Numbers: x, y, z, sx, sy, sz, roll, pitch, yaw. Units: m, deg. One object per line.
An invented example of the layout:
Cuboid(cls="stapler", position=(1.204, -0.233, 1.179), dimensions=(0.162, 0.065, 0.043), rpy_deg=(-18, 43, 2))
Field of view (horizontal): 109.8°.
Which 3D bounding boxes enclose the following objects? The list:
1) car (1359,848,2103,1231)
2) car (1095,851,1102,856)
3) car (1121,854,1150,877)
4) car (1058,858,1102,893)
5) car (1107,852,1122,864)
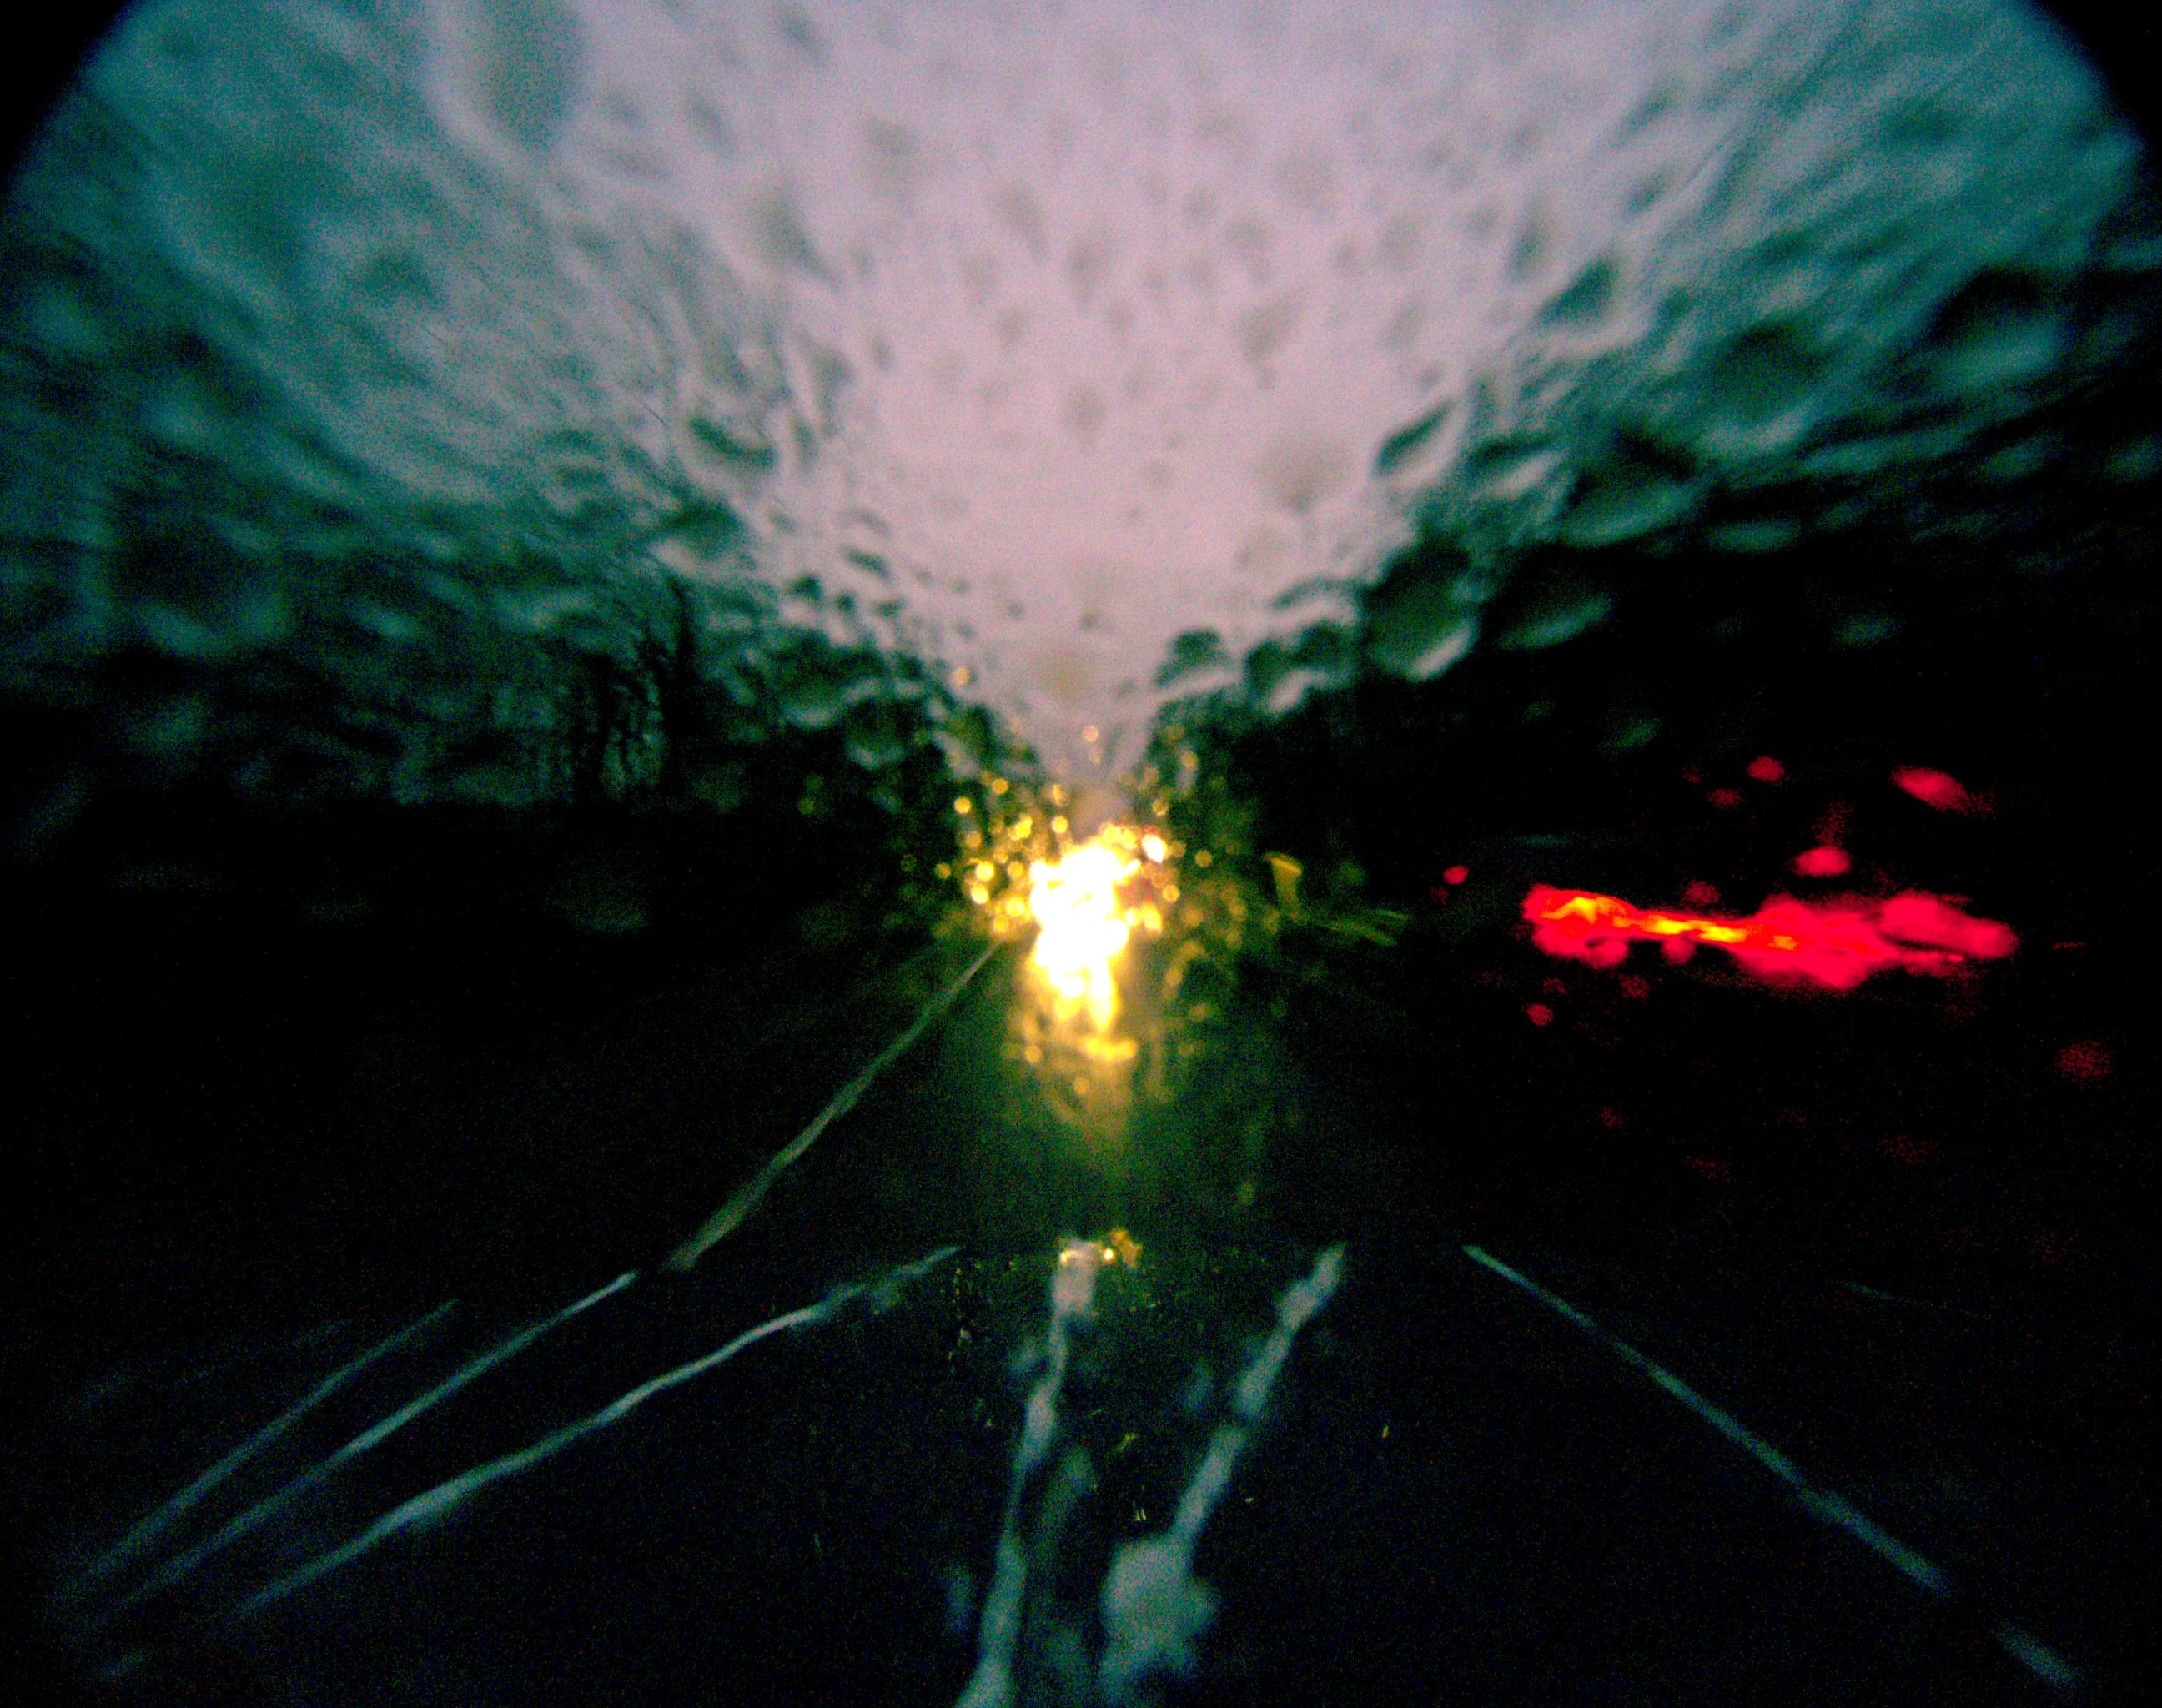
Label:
Cuboid(cls="car", position=(3.511, 0.784, 5.253), dimensions=(1.745, 1.626, 4.000), rpy_deg=(-1, 1, 1))
Cuboid(cls="car", position=(6.012, -0.174, 263.769), dimensions=(1.708, 1.355, 4.376), rpy_deg=(-7, -1, -3))
Cuboid(cls="car", position=(3.779, 0.794, 53.298), dimensions=(1.769, 1.449, 4.507), rpy_deg=(-1, 1, 1))
Cuboid(cls="car", position=(-0.003, 0.918, 33.997), dimensions=(1.845, 1.390, 4.000), rpy_deg=(-1, 0, 1))
Cuboid(cls="car", position=(4.322, 0.497, 98.297), dimensions=(1.803, 1.453, 4.176), rpy_deg=(0, 0, 1))
